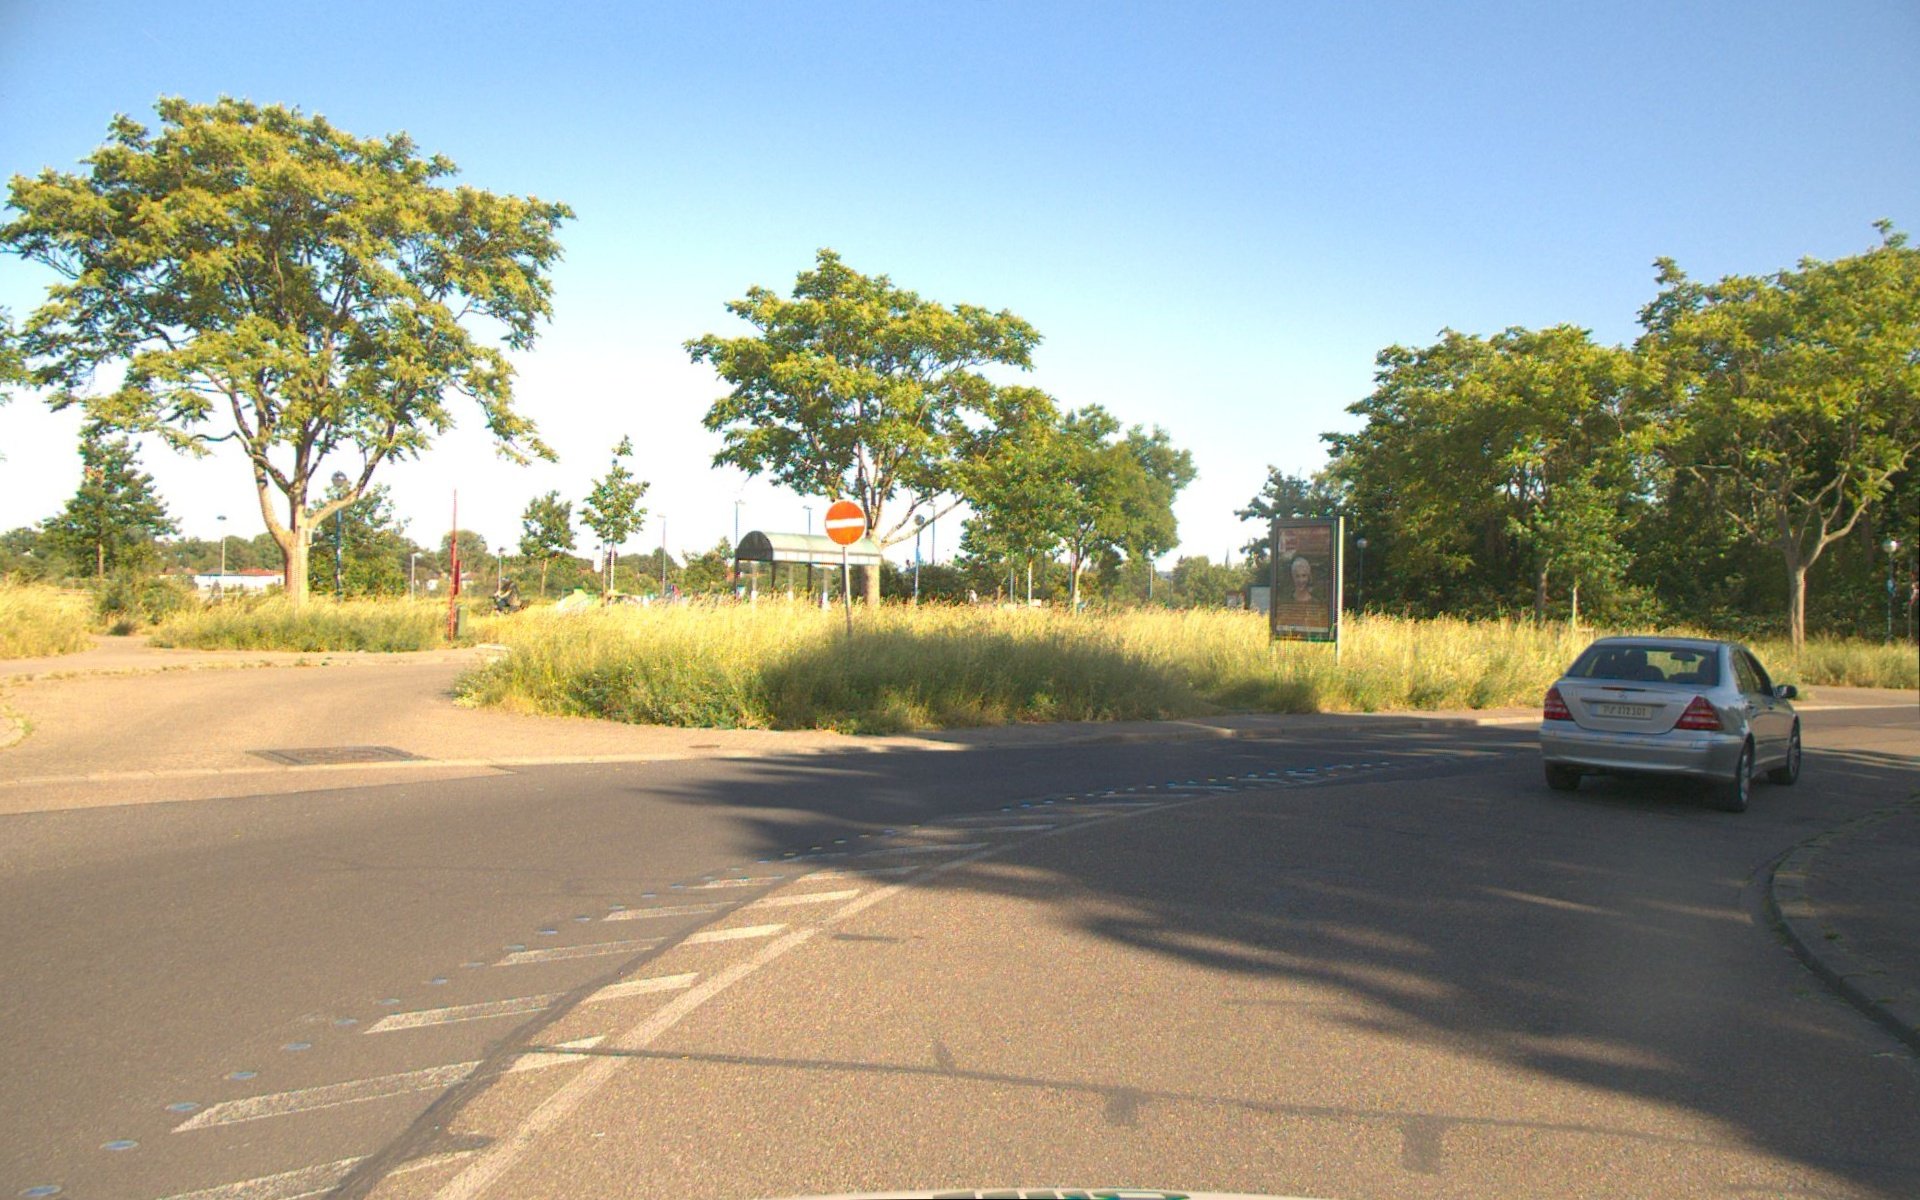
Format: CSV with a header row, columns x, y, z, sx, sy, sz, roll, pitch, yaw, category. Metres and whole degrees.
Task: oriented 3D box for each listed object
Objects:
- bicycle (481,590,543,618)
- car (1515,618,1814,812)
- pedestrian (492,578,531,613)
x,y,z,sx,sy,sz,roll,pitch,yaw,category
-12.613,0.123,46.574,0.642,0.716,1.567,2,-1,42,bicycle
6.776,0.956,15.635,1.785,1.489,4.346,2,1,34,car
-12.623,-0.120,46.550,0.691,0.957,0.795,2,0,42,pedestrian
